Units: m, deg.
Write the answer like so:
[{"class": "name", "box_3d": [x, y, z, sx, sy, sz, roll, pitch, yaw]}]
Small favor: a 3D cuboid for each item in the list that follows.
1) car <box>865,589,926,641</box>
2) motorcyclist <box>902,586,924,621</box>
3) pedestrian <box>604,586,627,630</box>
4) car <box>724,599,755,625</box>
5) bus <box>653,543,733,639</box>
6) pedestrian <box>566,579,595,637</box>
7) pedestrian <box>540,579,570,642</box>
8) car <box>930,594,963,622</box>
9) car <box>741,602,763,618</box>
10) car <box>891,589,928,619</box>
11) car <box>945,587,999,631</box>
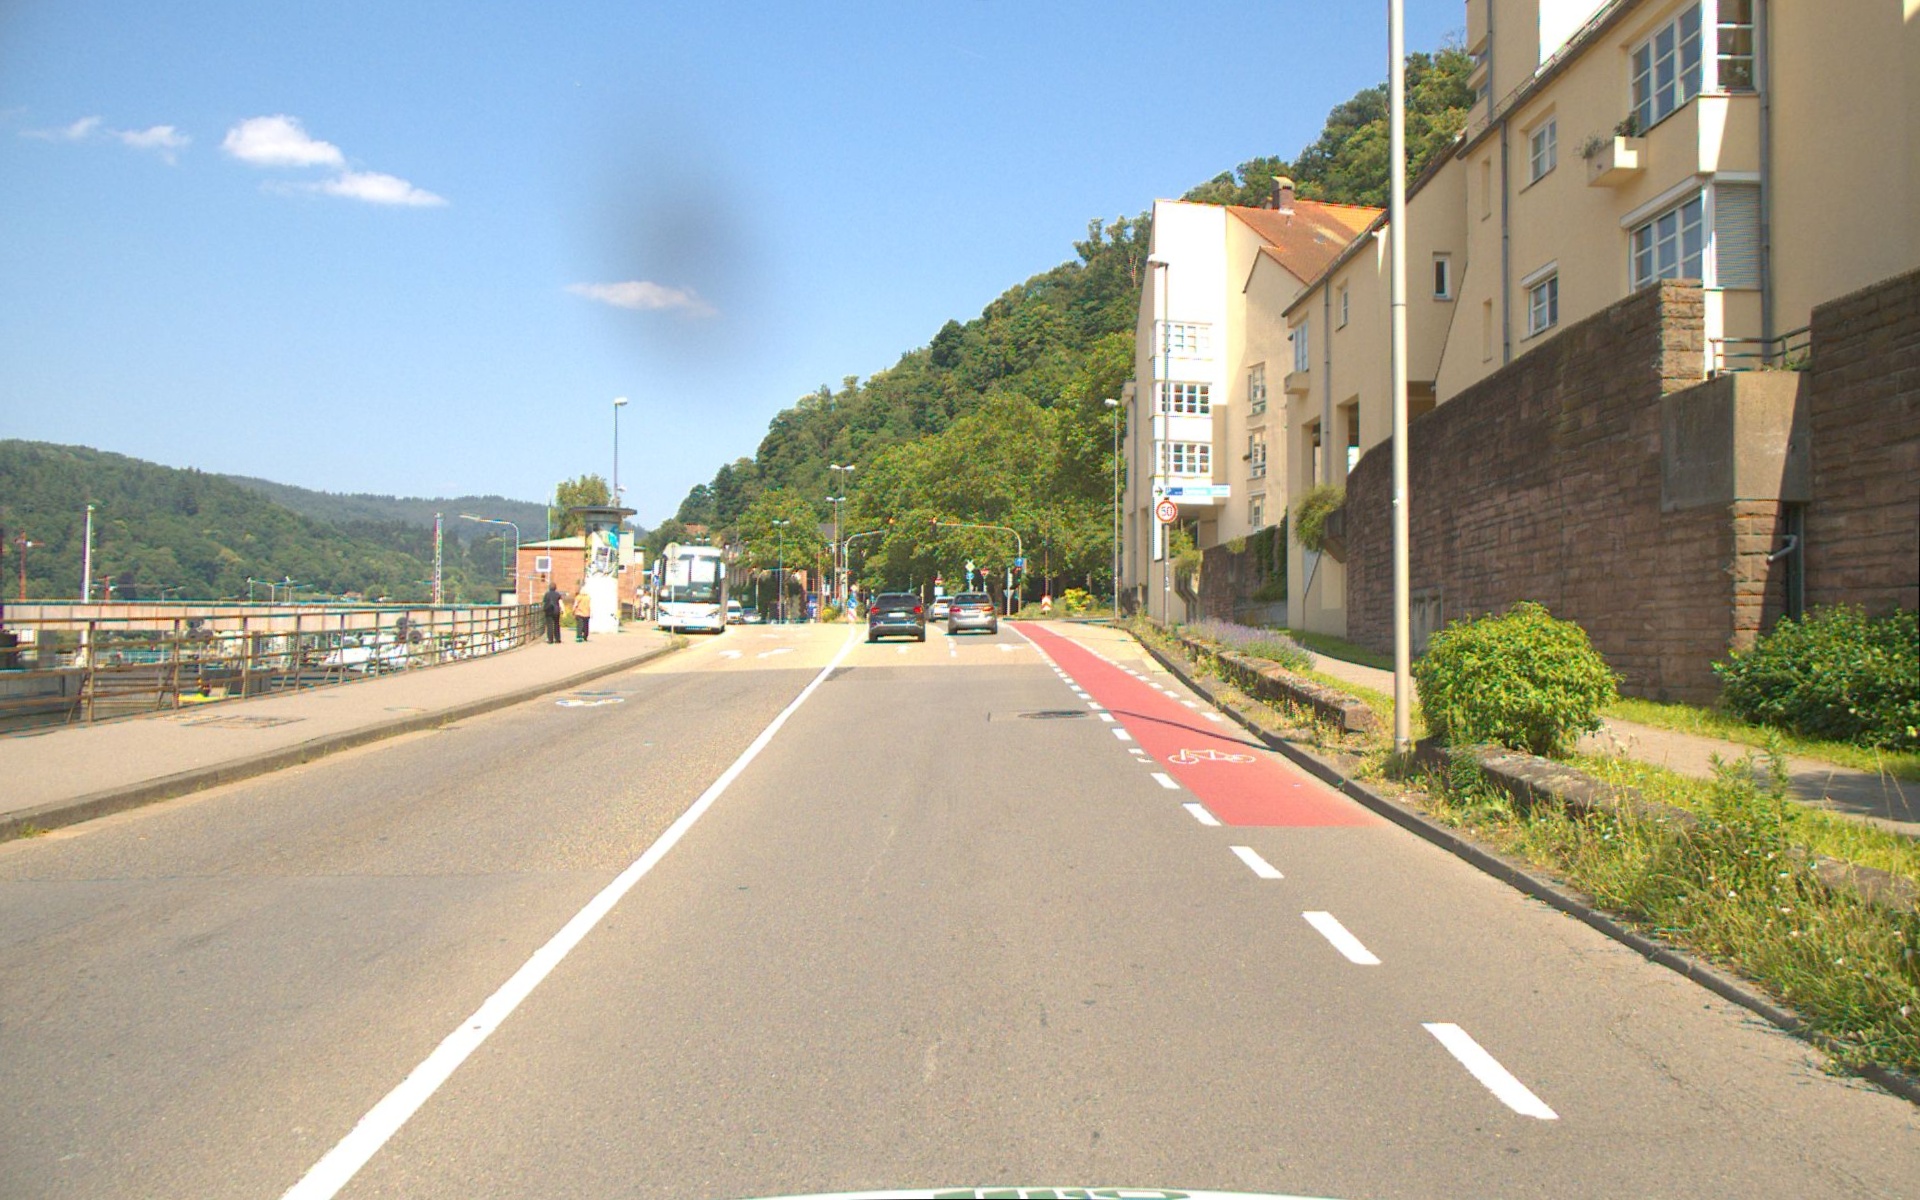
[{"class": "car", "box_3d": [-1.993, 0.463, 51.883, 1.831, 1.540, 4.149, 1, -1, -2]}, {"class": "motorcyclist", "box_3d": [-2.409, 0.174, 84.731, 1.054, 1.714, 1.155, -1, 0, -2]}, {"class": "pedestrian", "box_3d": [-14.412, 0.353, 69.171, 0.875, 1.827, 1.039, 0, -1, -8]}, {"class": "car", "box_3d": [-23.280, 1.267, 174.510, 2.345, 2.621, 6.029, -1, 0, -16]}, {"class": "bus", "box_3d": [-11.660, -0.318, 73.223, 2.900, 3.867, 13.224, 0, -1, -7]}, {"class": "pedestrian", "box_3d": [-10.924, 0.224, 47.653, 0.689, 1.649, 0.816, 0, -1, -5]}, {"class": "pedestrian", "box_3d": [-11.270, 0.295, 46.061, 0.669, 1.739, 0.773, 0, -1, -4]}, {"class": "car", "box_3d": [-0.851, 0.485, 98.912, 1.750, 1.559, 4.734, -1, 0, -3]}, {"class": "car", "box_3d": [-19.401, 0.909, 154.301, 1.956, 1.457, 4.159, -1, 0, -8]}, {"class": "car", "box_3d": [-2.791, 0.216, 90.426, 1.830, 1.589, 3.997, -1, 0, -4]}, {"class": "car", "box_3d": [0.416, 0.328, 61.192, 1.850, 1.548, 4.304, 1, -1, -2]}]
